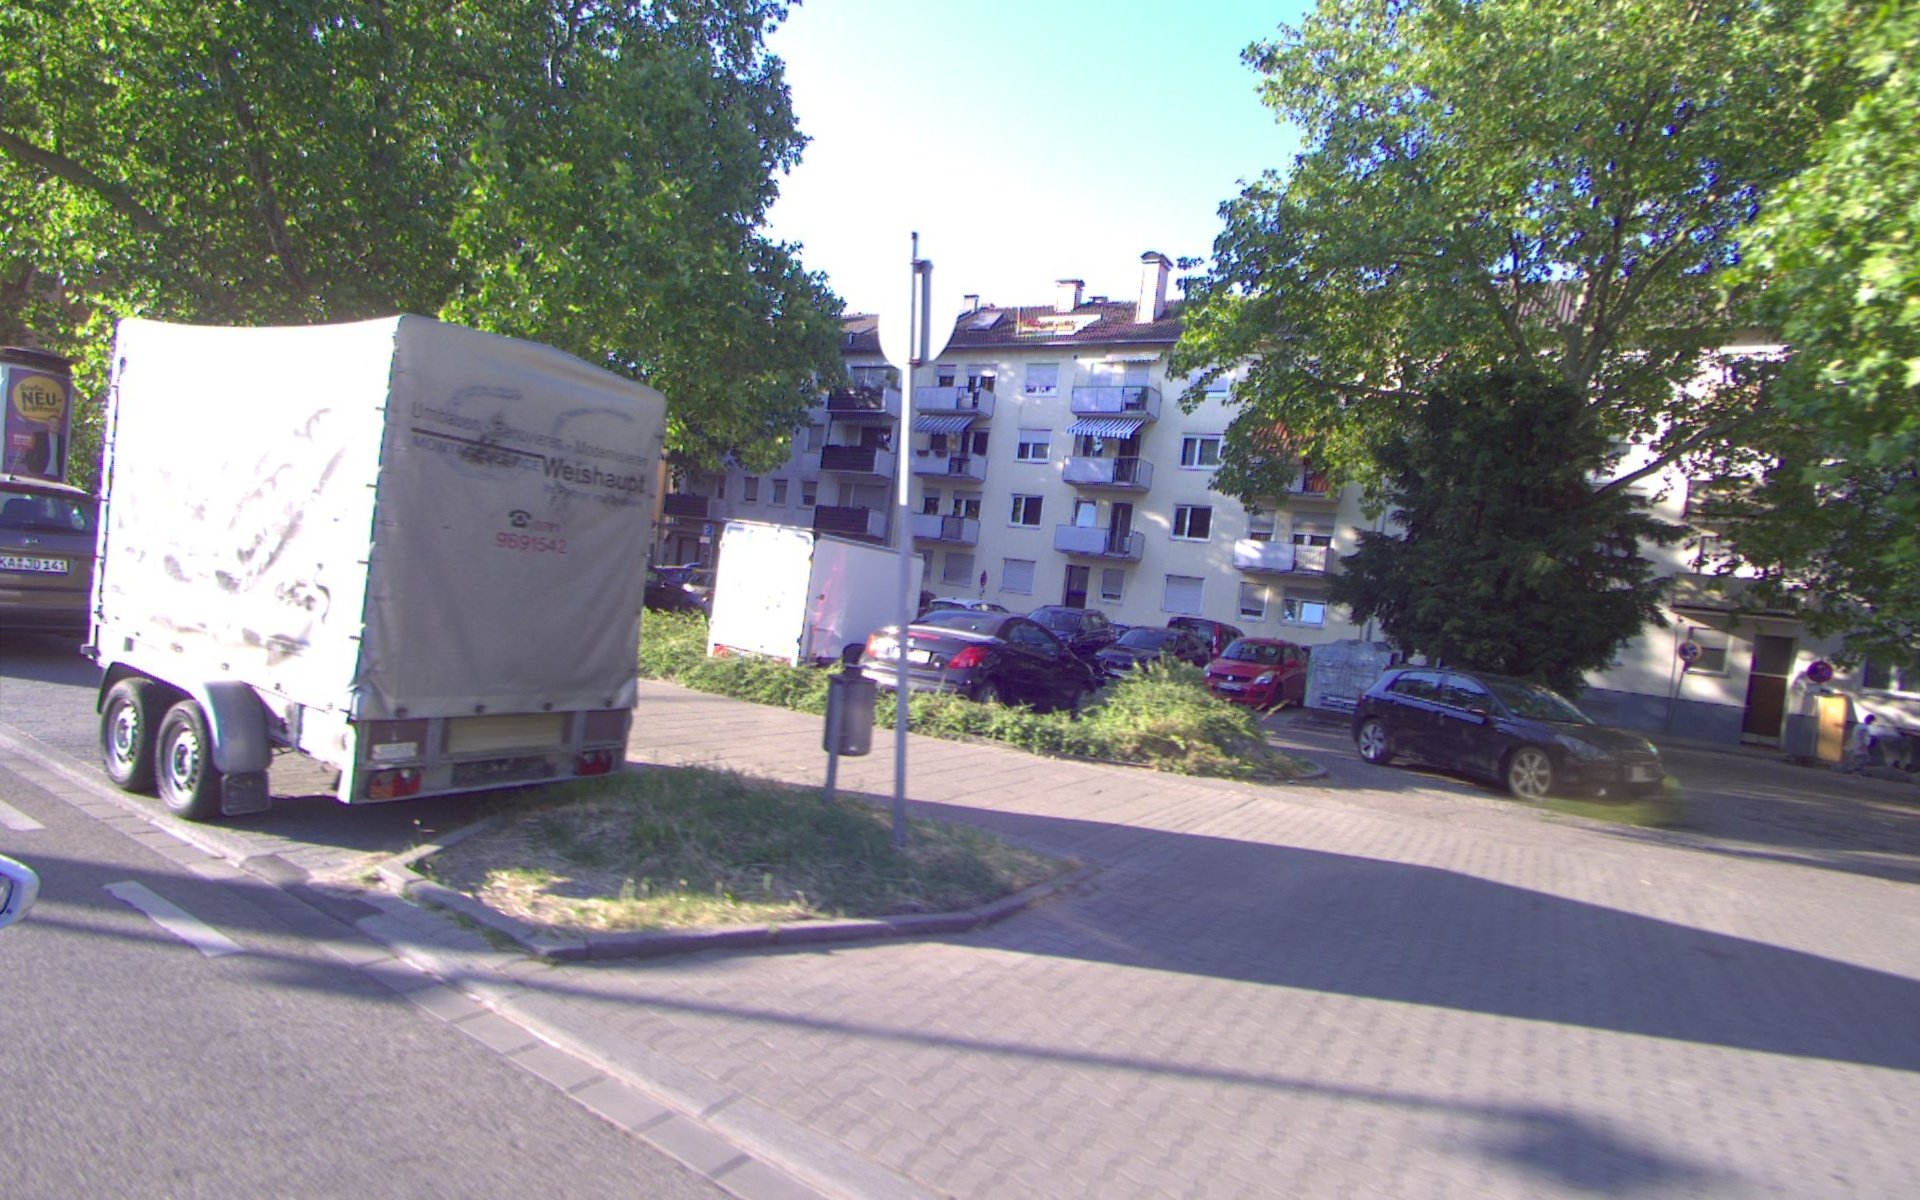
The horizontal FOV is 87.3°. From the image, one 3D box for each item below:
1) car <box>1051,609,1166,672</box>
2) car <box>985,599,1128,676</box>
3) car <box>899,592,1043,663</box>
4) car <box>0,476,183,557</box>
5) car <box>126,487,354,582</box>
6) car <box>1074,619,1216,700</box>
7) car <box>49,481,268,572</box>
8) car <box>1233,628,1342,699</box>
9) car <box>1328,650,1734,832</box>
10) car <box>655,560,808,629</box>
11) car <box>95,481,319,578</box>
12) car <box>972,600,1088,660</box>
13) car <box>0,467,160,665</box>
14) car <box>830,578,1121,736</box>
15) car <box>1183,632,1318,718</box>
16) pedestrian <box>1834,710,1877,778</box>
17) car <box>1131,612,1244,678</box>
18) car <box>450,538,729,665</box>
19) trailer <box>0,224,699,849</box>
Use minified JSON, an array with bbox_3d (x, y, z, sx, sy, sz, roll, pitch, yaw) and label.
[{"bbox_3d":[4.518,1.252,30.051,1.965,1.514,4.290,7,0,28],"label":"car"},{"bbox_3d":[2.528,0.990,25.338,1.965,1.553,4.290,7,0,28],"label":"car"},{"bbox_3d":[0.396,0.781,26.729,1.965,1.514,4.290,7,0,28],"label":"car"},{"bbox_3d":[-24.363,-2.304,28.247,1.744,1.499,3.507,7,-3,30],"label":"car"},{"bbox_3d":[-16.685,-1.479,23.489,1.773,1.453,3.847,9,-1,32],"label":"car"},{"bbox_3d":[4.427,1.398,23.567,1.965,1.514,4.290,7,0,28],"label":"car"},{"bbox_3d":[-20.226,-1.813,25.545,1.826,1.511,3.849,7,-3,32],"label":"car"},{"bbox_3d":[8.862,1.708,26.996,1.965,1.514,4.290,7,0,28],"label":"car"},{"bbox_3d":[7.034,1.671,13.019,1.970,1.514,4.280,7,0,-16],"label":"car"},{"bbox_3d":[-6.637,-0.121,29.715,1.965,1.553,4.290,7,0,28],"label":"car"},{"bbox_3d":[-18.255,-1.661,24.554,1.826,1.650,3.847,7,-2,32],"label":"car"},{"bbox_3d":[2.278,0.987,31.493,1.948,1.514,4.290,7,0,28],"label":"car"},{"bbox_3d":[-9.633,-0.473,9.610,3.934,1.651,1.797,7,0,32],"label":"car"},{"bbox_3d":[0.412,0.738,13.147,1.965,1.514,4.290,7,0,28],"label":"car"},{"bbox_3d":[6.665,1.662,22.753,1.965,1.514,4.290,7,0,28],"label":"car"},{"bbox_3d":[22.849,3.660,25.668,0.563,1.630,0.585,7,1,31],"label":"pedestrian"},{"bbox_3d":[6.539,1.318,28.560,1.965,1.514,4.290,7,0,28],"label":"car"},{"bbox_3d":[-6.168,0.103,17.220,1.773,1.568,4.120,7,-2,32],"label":"car"},{"bbox_3d":[-4.060,-0.423,6.210,4.573,2.620,1.887,7,1,32],"label":"trailer"}]
